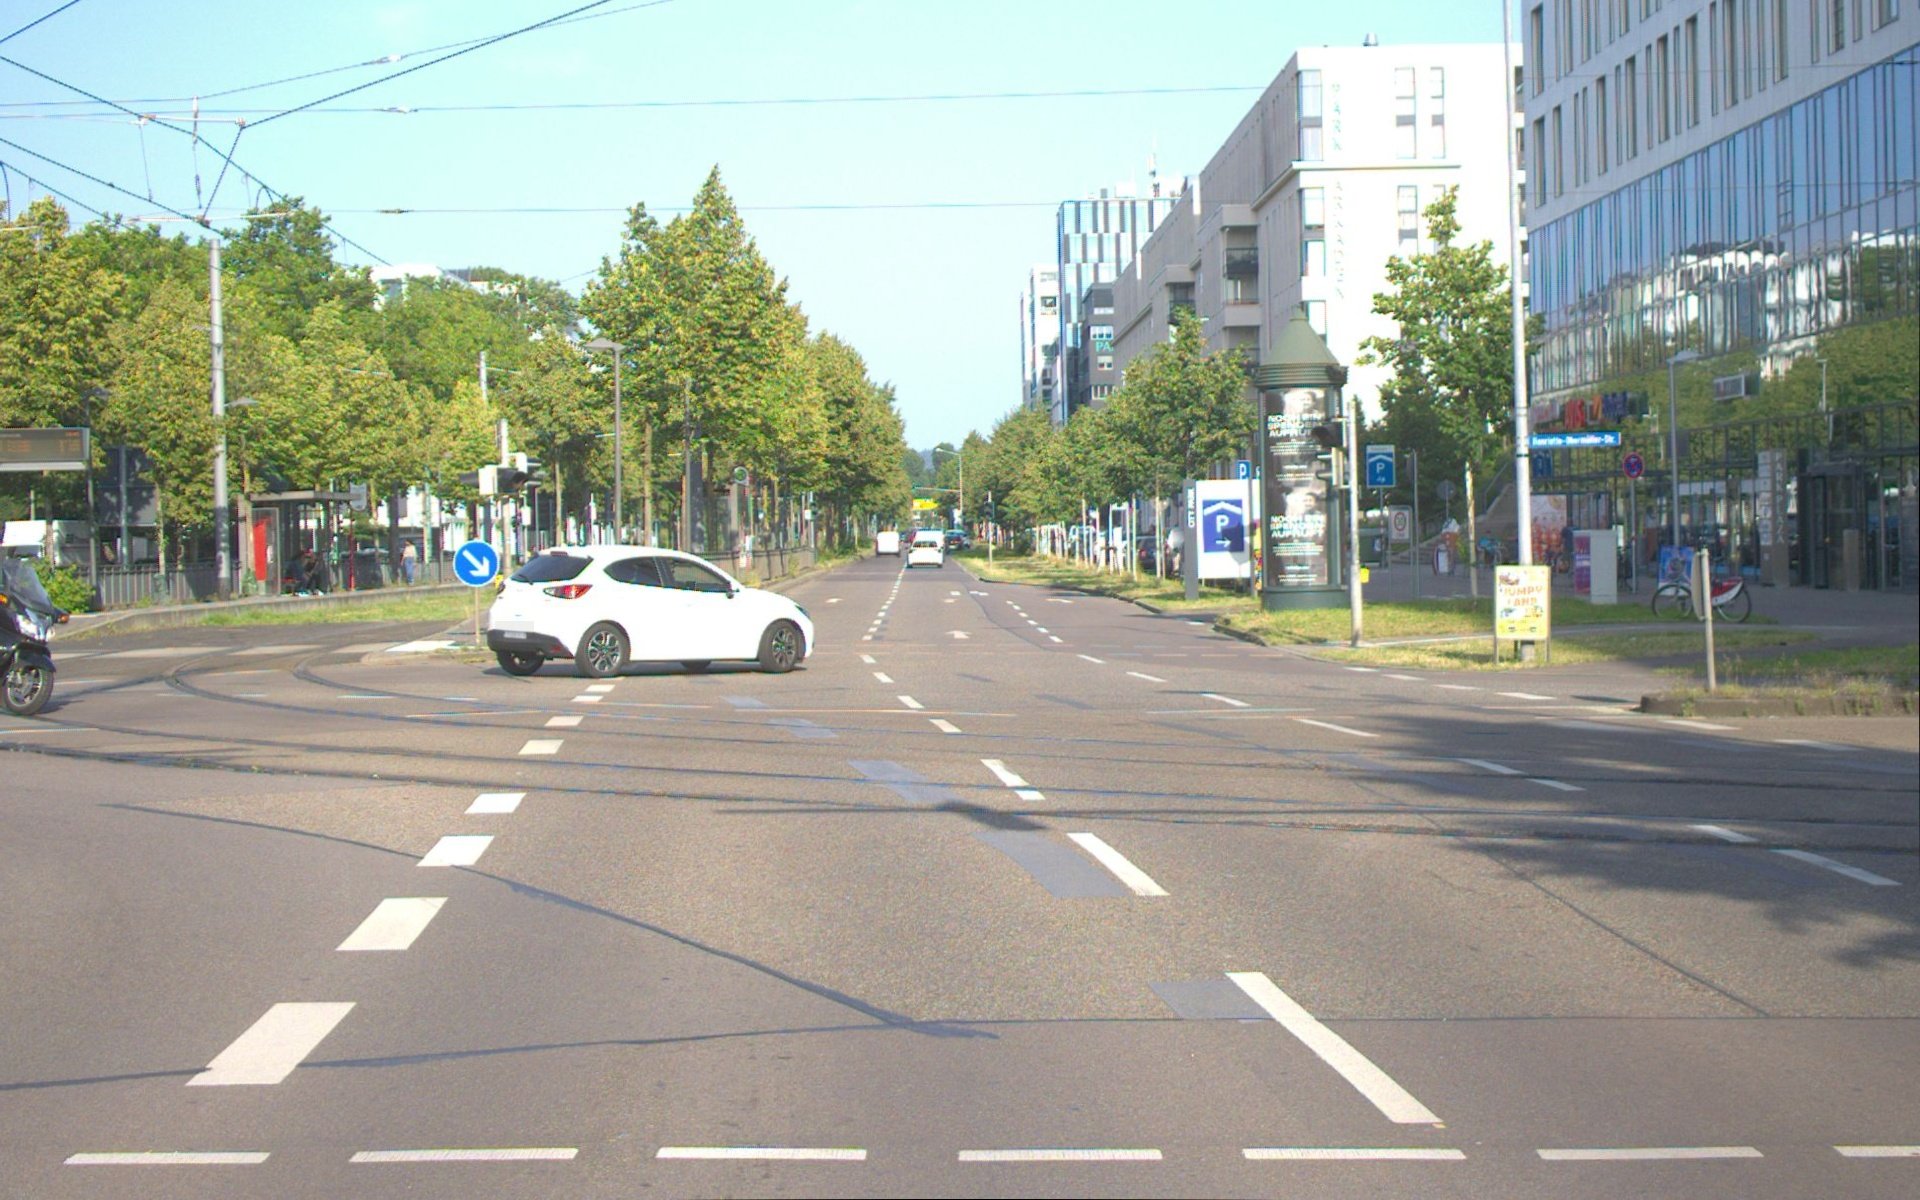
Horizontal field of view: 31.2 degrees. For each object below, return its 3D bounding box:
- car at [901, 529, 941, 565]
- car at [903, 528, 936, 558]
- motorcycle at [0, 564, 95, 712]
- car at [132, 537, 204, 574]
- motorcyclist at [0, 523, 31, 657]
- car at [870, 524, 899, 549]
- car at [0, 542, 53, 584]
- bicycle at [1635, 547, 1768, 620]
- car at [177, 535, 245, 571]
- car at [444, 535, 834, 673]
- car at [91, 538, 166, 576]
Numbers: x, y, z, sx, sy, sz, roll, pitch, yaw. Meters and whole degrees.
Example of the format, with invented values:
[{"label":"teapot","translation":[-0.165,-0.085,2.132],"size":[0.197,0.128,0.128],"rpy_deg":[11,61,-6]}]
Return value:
[{"label":"car","translation":[-1.905,-2.614,169.055],"size":[1.864,1.678,4.000],"rpy_deg":[1,2,0]},{"label":"car","translation":[-2.382,-3.374,201.501],"size":[1.864,1.678,4.000],"rpy_deg":[1,2,0]},{"label":"motorcycle","translation":[-8.938,0.312,30.874],"size":[2.546,1.259,0.819],"rpy_deg":[1,2,36]},{"label":"car","translation":[-34.415,-1.958,149.512],"size":[1.881,1.554,3.999],"rpy_deg":[-1,1,5]},{"label":"motorcyclist","translation":[-8.953,-0.099,30.922],"size":[0.846,1.198,0.783],"rpy_deg":[2,2,36]},{"label":"car","translation":[-5.387,-4.532,245.689],"size":[2.014,1.678,4.000],"rpy_deg":[1,2,0]},{"label":"car","translation":[-35.691,-1.380,129.094],"size":[1.881,1.554,3.999],"rpy_deg":[-1,1,5]},{"label":"bicycle","translation":[11.421,-0.263,52.979],"size":[0.771,1.028,1.878],"rpy_deg":[-2,4,-44]},{"label":"car","translation":[-33.942,-2.130,155.934],"size":[1.881,1.554,3.999],"rpy_deg":[-1,1,5]},{"label":"car","translation":[-3.654,0.026,39.531],"size":[4.081,1.499,1.999],"rpy_deg":[0,1,-42]},{"label":"car","translation":[-34.956,-1.817,144.636],"size":[1.881,1.554,3.999],"rpy_deg":[-1,1,5]}]
